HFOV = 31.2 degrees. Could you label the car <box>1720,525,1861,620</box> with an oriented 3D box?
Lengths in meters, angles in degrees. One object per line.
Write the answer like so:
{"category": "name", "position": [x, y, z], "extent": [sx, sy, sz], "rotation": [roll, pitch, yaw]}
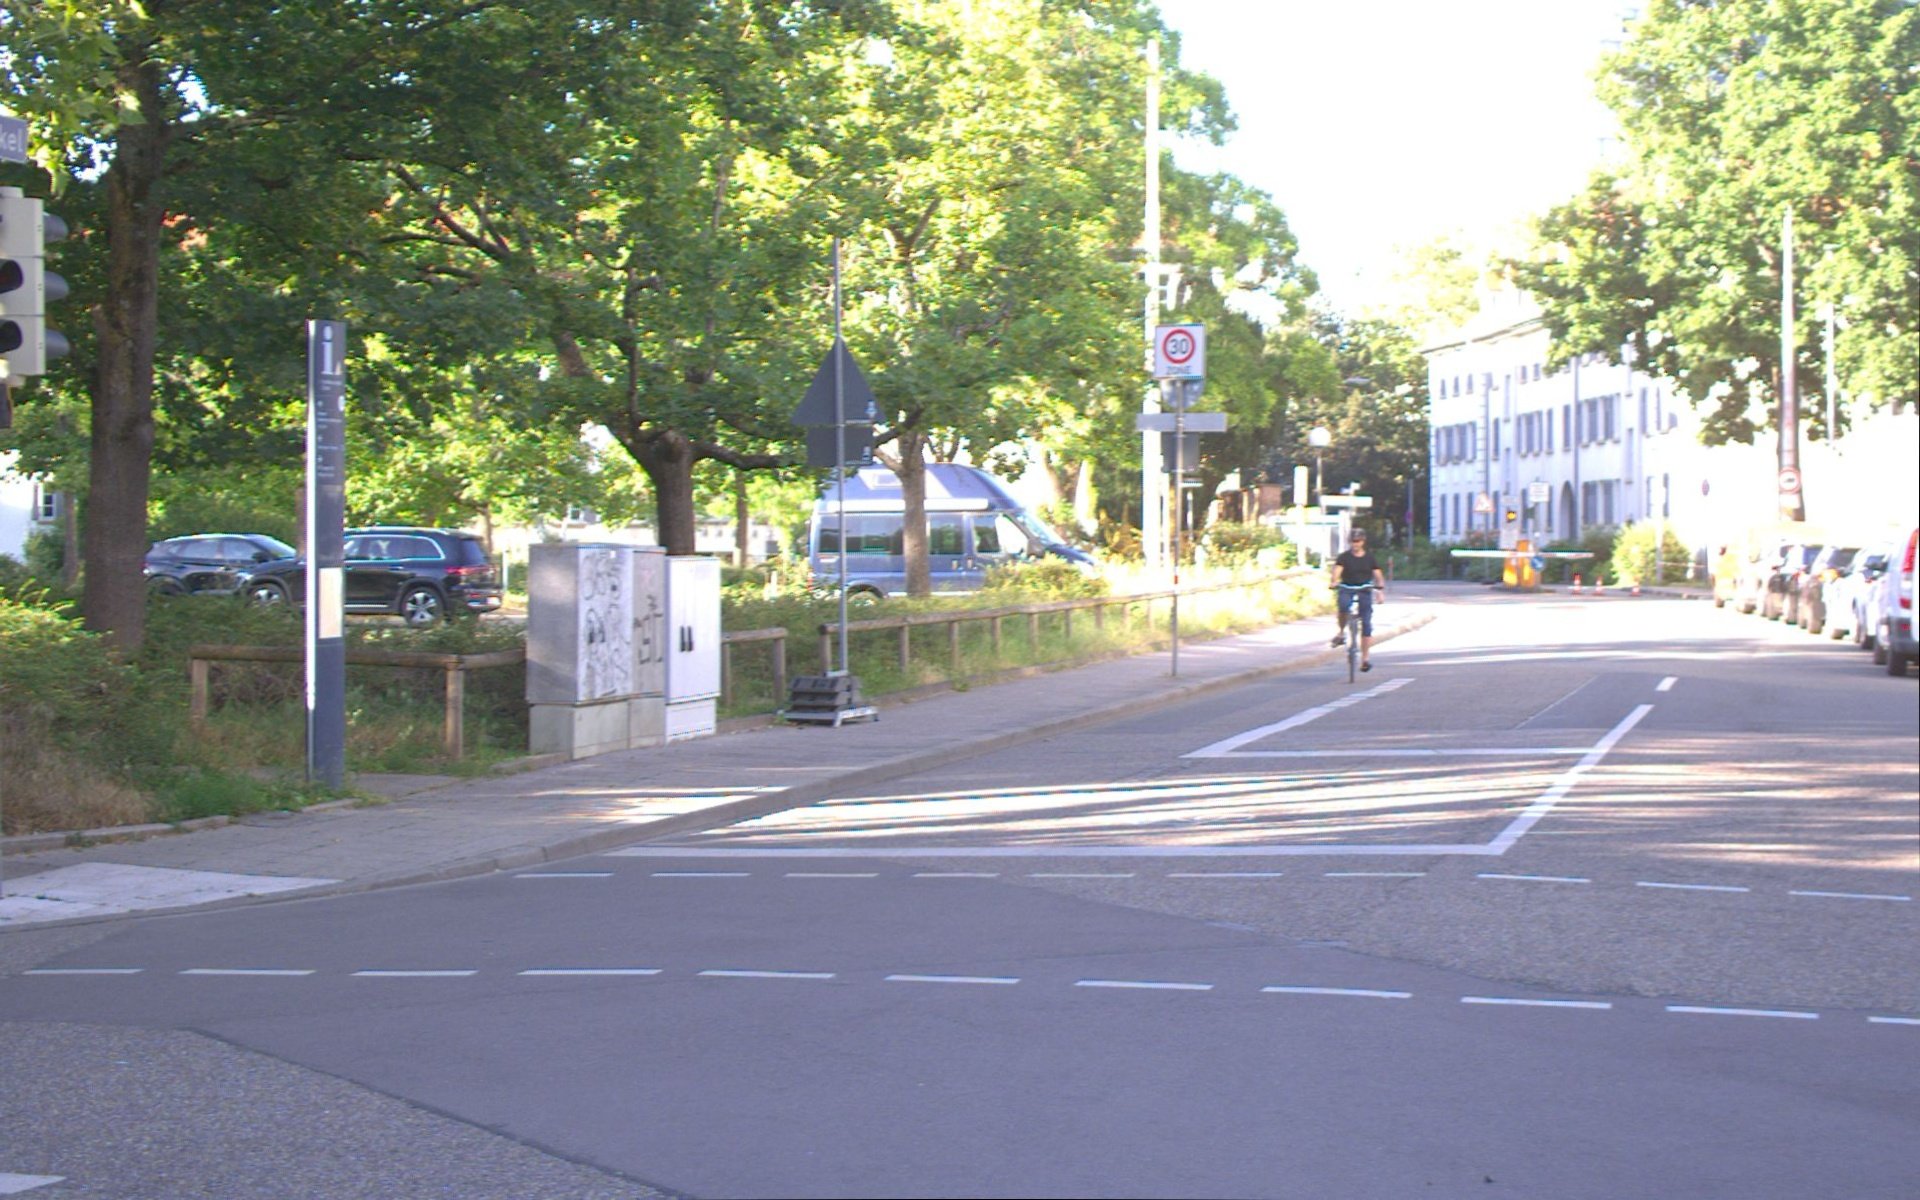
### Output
{"category": "car", "position": [15.734, -0.554, 65.334], "extent": [1.888, 1.650, 4.415], "rotation": [1, 2, 4]}

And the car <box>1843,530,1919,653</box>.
{"category": "car", "position": [13.283, -0.141, 47.602], "extent": [1.889, 1.550, 4.413], "rotation": [2, 2, 13]}

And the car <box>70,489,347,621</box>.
{"category": "car", "position": [-13.892, -0.816, 63.624], "extent": [4.558, 2.383, 2.073], "rotation": [0, 0, 14]}

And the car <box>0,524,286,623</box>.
{"category": "car", "position": [-14.579, -0.469, 61.316], "extent": [4.558, 1.724, 2.073], "rotation": [0, 0, 14]}

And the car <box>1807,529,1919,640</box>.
{"category": "car", "position": [14.219, -0.274, 53.019], "extent": [1.889, 1.550, 4.414], "rotation": [1, 2, 10]}

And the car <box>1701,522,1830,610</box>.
{"category": "car", "position": [16.524, -0.722, 70.693], "extent": [1.888, 1.650, 4.415], "rotation": [1, 2, 4]}

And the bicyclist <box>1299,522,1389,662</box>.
{"category": "bicyclist", "position": [4.287, -0.088, 38.332], "extent": [0.866, 1.510, 1.019], "rotation": [-2, 0, 12]}

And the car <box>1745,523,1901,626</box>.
{"category": "car", "position": [15.130, -0.489, 60.500], "extent": [1.888, 1.650, 4.415], "rotation": [1, 2, 4]}

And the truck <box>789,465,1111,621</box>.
{"category": "truck", "position": [-0.143, -0.945, 55.680], "extent": [4.831, 2.391, 2.086], "rotation": [1, 2, 13]}

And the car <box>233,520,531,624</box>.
{"category": "car", "position": [-9.803, -0.470, 58.438], "extent": [4.558, 1.724, 2.073], "rotation": [0, 0, 14]}

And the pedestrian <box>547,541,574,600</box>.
{"category": "pedestrian", "position": [-9.028, -0.676, 77.734], "extent": [0.558, 1.319, 0.577], "rotation": [0, 1, -3]}

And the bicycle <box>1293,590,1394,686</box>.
{"category": "bicycle", "position": [4.291, 0.406, 38.328], "extent": [0.866, 1.006, 2.413], "rotation": [-2, 0, 12]}

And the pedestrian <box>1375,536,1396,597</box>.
{"category": "pedestrian", "position": [11.567, -0.916, 93.565], "extent": [0.545, 1.671, 0.476], "rotation": [0, 1, 6]}

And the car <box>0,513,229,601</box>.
{"category": "car", "position": [-17.117, -0.843, 68.516], "extent": [4.558, 1.724, 2.073], "rotation": [0, 0, 14]}

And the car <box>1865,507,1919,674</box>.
{"category": "car", "position": [11.572, -0.140, 39.483], "extent": [2.086, 1.789, 4.413], "rotation": [2, 2, 13]}
